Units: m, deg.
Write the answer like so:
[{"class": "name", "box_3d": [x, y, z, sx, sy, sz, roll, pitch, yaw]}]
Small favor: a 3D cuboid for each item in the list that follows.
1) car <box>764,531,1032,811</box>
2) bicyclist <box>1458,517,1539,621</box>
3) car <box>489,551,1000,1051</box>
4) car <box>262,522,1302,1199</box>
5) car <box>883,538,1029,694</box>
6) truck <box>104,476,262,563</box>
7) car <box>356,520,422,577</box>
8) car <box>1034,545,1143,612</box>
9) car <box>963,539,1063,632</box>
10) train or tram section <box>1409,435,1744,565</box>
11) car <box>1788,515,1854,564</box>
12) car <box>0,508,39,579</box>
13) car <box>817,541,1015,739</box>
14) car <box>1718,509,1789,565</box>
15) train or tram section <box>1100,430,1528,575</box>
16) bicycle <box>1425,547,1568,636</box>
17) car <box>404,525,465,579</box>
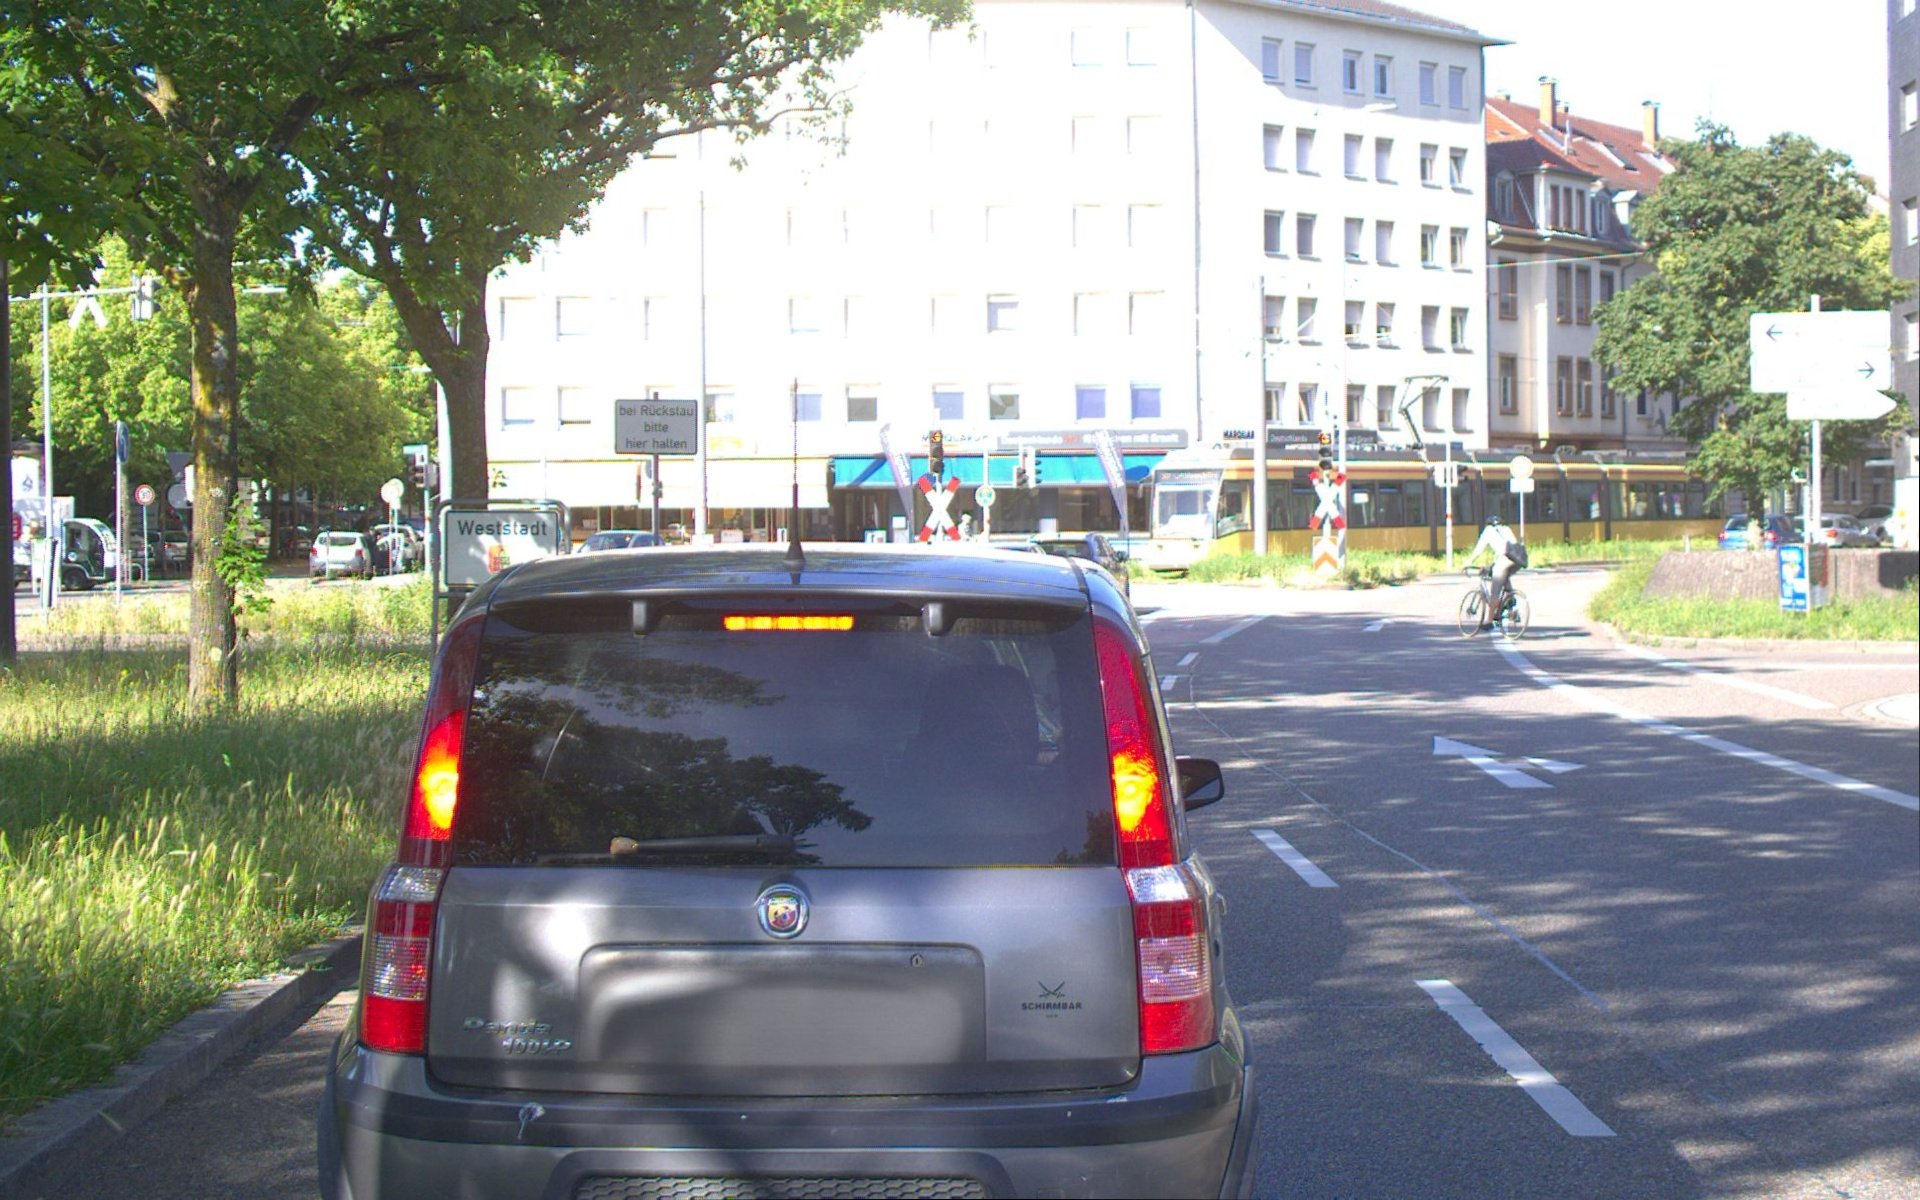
[{"class": "car", "box_3d": [-0.359, 0.355, 20.687, 1.463, 1.503, 3.505, 0, 2, -1]}, {"class": "bicyclist", "box_3d": [7.455, -0.430, 47.596, 0.741, 1.433, 0.845, 1, 0, -25]}, {"class": "car", "box_3d": [-0.641, 0.559, 11.647, 1.463, 1.396, 3.393, 0, 1, -1]}, {"class": "car", "box_3d": [-0.299, 0.597, 7.426, 1.628, 1.503, 4.000, -1, 1, -1]}, {"class": "car", "box_3d": [-0.059, 0.121, 33.870, 1.356, 1.444, 3.266, -1, 1, -1]}, {"class": "truck", "box_3d": [-28.874, -2.992, 127.782, 5.485, 3.158, 2.340, 0, 1, 28]}, {"class": "car", "box_3d": [-20.510, -1.869, 123.591, 1.993, 2.007, 4.001, -1, 1, -4]}, {"class": "car", "box_3d": [2.173, -0.371, 57.677, 1.143, 1.060, 2.719, 0, 1, 17]}, {"class": "car", "box_3d": [0.751, -0.228, 49.602, 1.356, 1.277, 2.876, 0, 1, -1]}, {"class": "train or tram section", "box_3d": [19.857, -3.147, 108.521, 3.301, 3.757, 20.774, 0, 2, 31]}, {"class": "car", "box_3d": [23.562, -1.669, 94.024, 1.528, 1.310, 3.285, 0, 1, 18]}, {"class": "car", "box_3d": [-28.576, -1.597, 97.978, 4.176, 2.007, 1.932, -1, 1, -2]}, {"class": "car", "box_3d": [-0.344, 0.268, 27.261, 1.463, 1.420, 3.381, 0, 2, -1]}, {"class": "car", "box_3d": [20.885, -1.665, 90.396, 1.683, 1.444, 3.569, 0, 1, 15]}, {"class": "train or tram section", "box_3d": [9.948, -2.610, 92.224, 3.301, 3.501, 19.350, 0, 2, 32]}, {"class": "bicycle", "box_3d": [7.425, -0.131, 47.716, 0.708, 1.194, 2.521, 1, 1, -24]}, {"class": "car", "box_3d": [-20.358, -1.877, 133.311, 1.993, 2.007, 4.001, -1, 1, -4]}]
